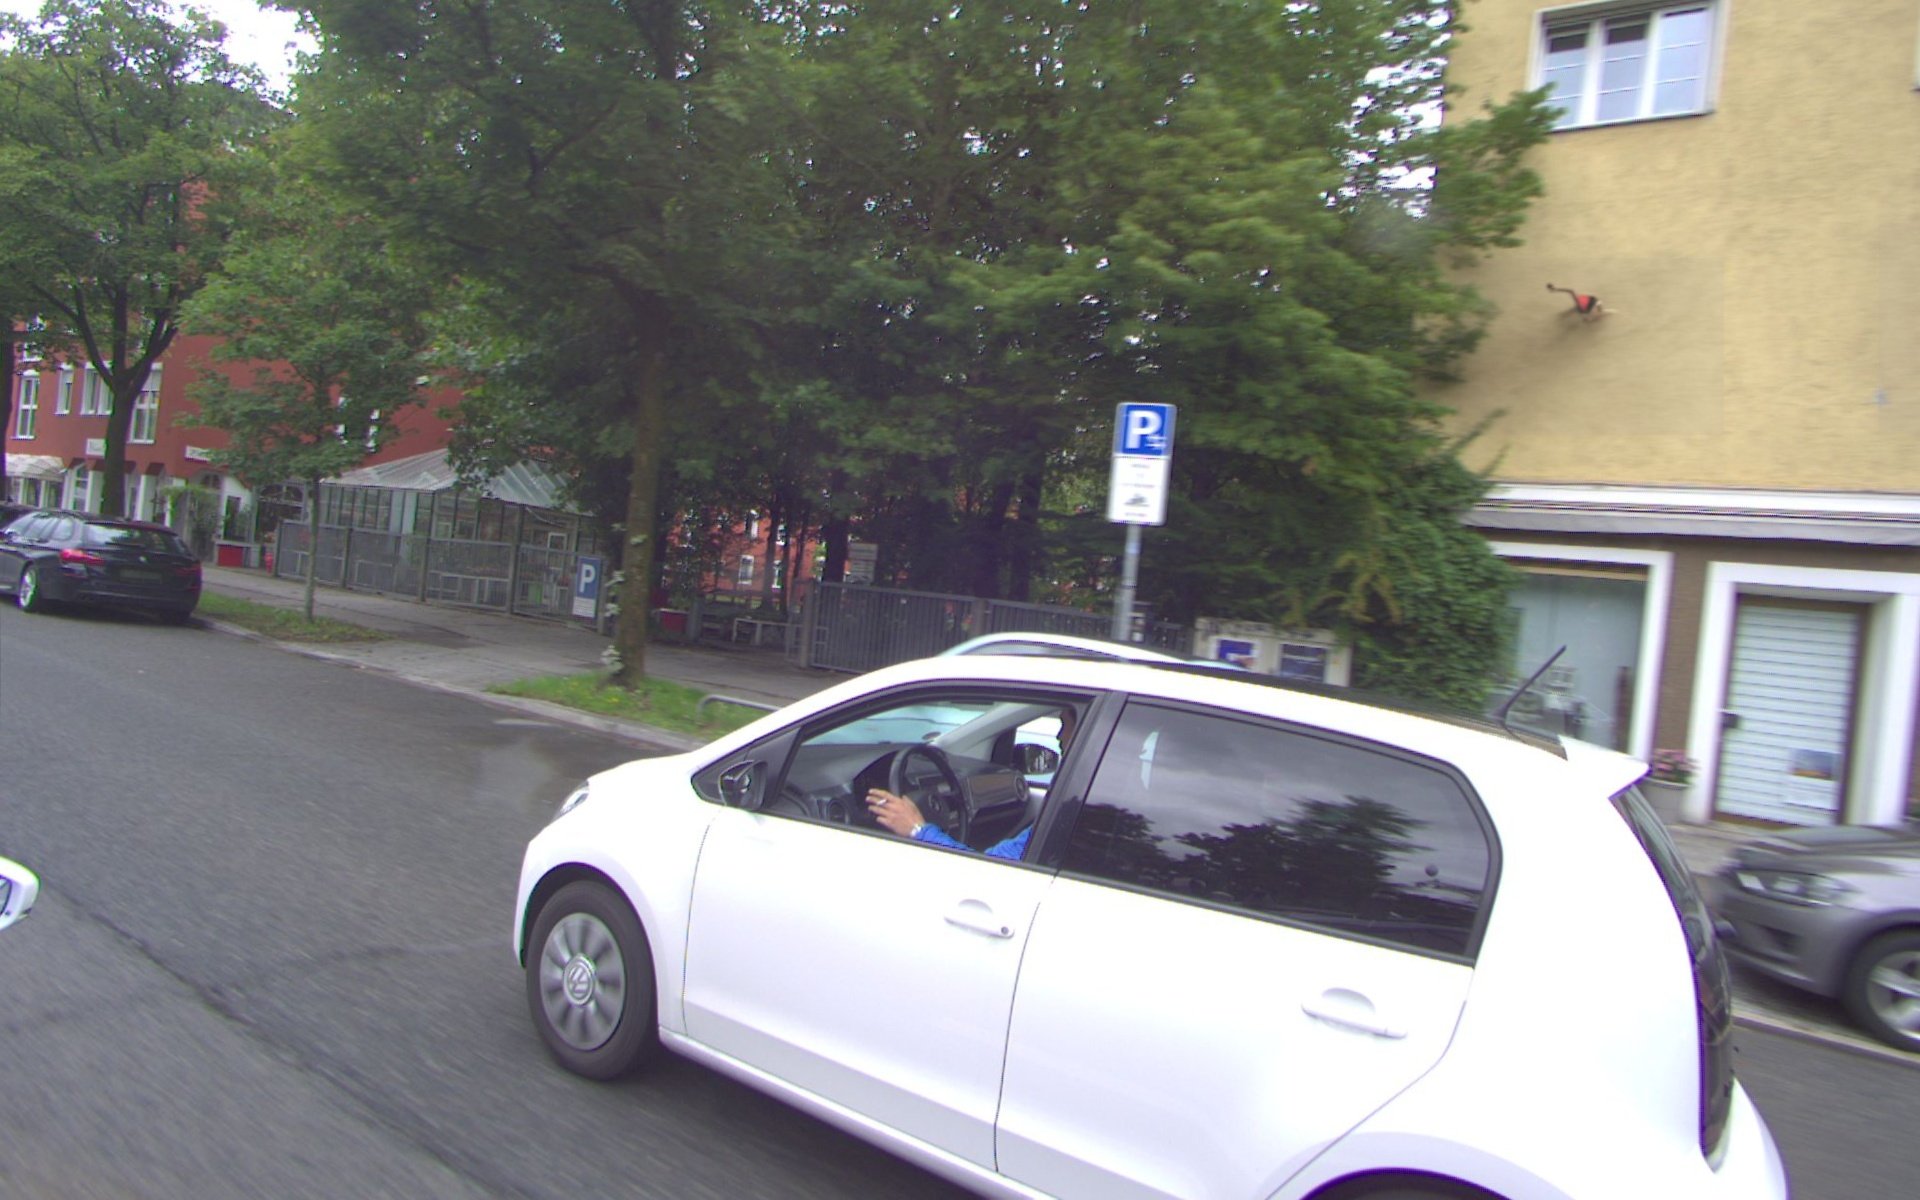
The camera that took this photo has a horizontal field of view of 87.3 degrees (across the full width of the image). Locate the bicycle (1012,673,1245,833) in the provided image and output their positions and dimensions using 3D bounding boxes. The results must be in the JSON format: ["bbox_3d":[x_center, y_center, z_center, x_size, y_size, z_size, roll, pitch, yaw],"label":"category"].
[{"bbox_3d":[1.364,1.217,8.326,1.769,0.992,0.448,7,0,32],"label":"bicycle"}]

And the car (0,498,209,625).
[{"bbox_3d":[-13.317,-0.651,15.168,4.632,1.470,1.655,7,0,34],"label":"car"}]

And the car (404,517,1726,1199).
[{"bbox_3d":[0.110,0.728,3.204,3.377,1.507,1.690,7,-2,31],"label":"car"}]

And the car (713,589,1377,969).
[{"bbox_3d":[0.419,0.931,6.640,3.936,1.469,1.655,7,-1,34],"label":"car"}]

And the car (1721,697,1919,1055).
[{"bbox_3d":[6.564,1.633,4.917,4.237,1.647,1.816,7,1,33],"label":"car"}]
